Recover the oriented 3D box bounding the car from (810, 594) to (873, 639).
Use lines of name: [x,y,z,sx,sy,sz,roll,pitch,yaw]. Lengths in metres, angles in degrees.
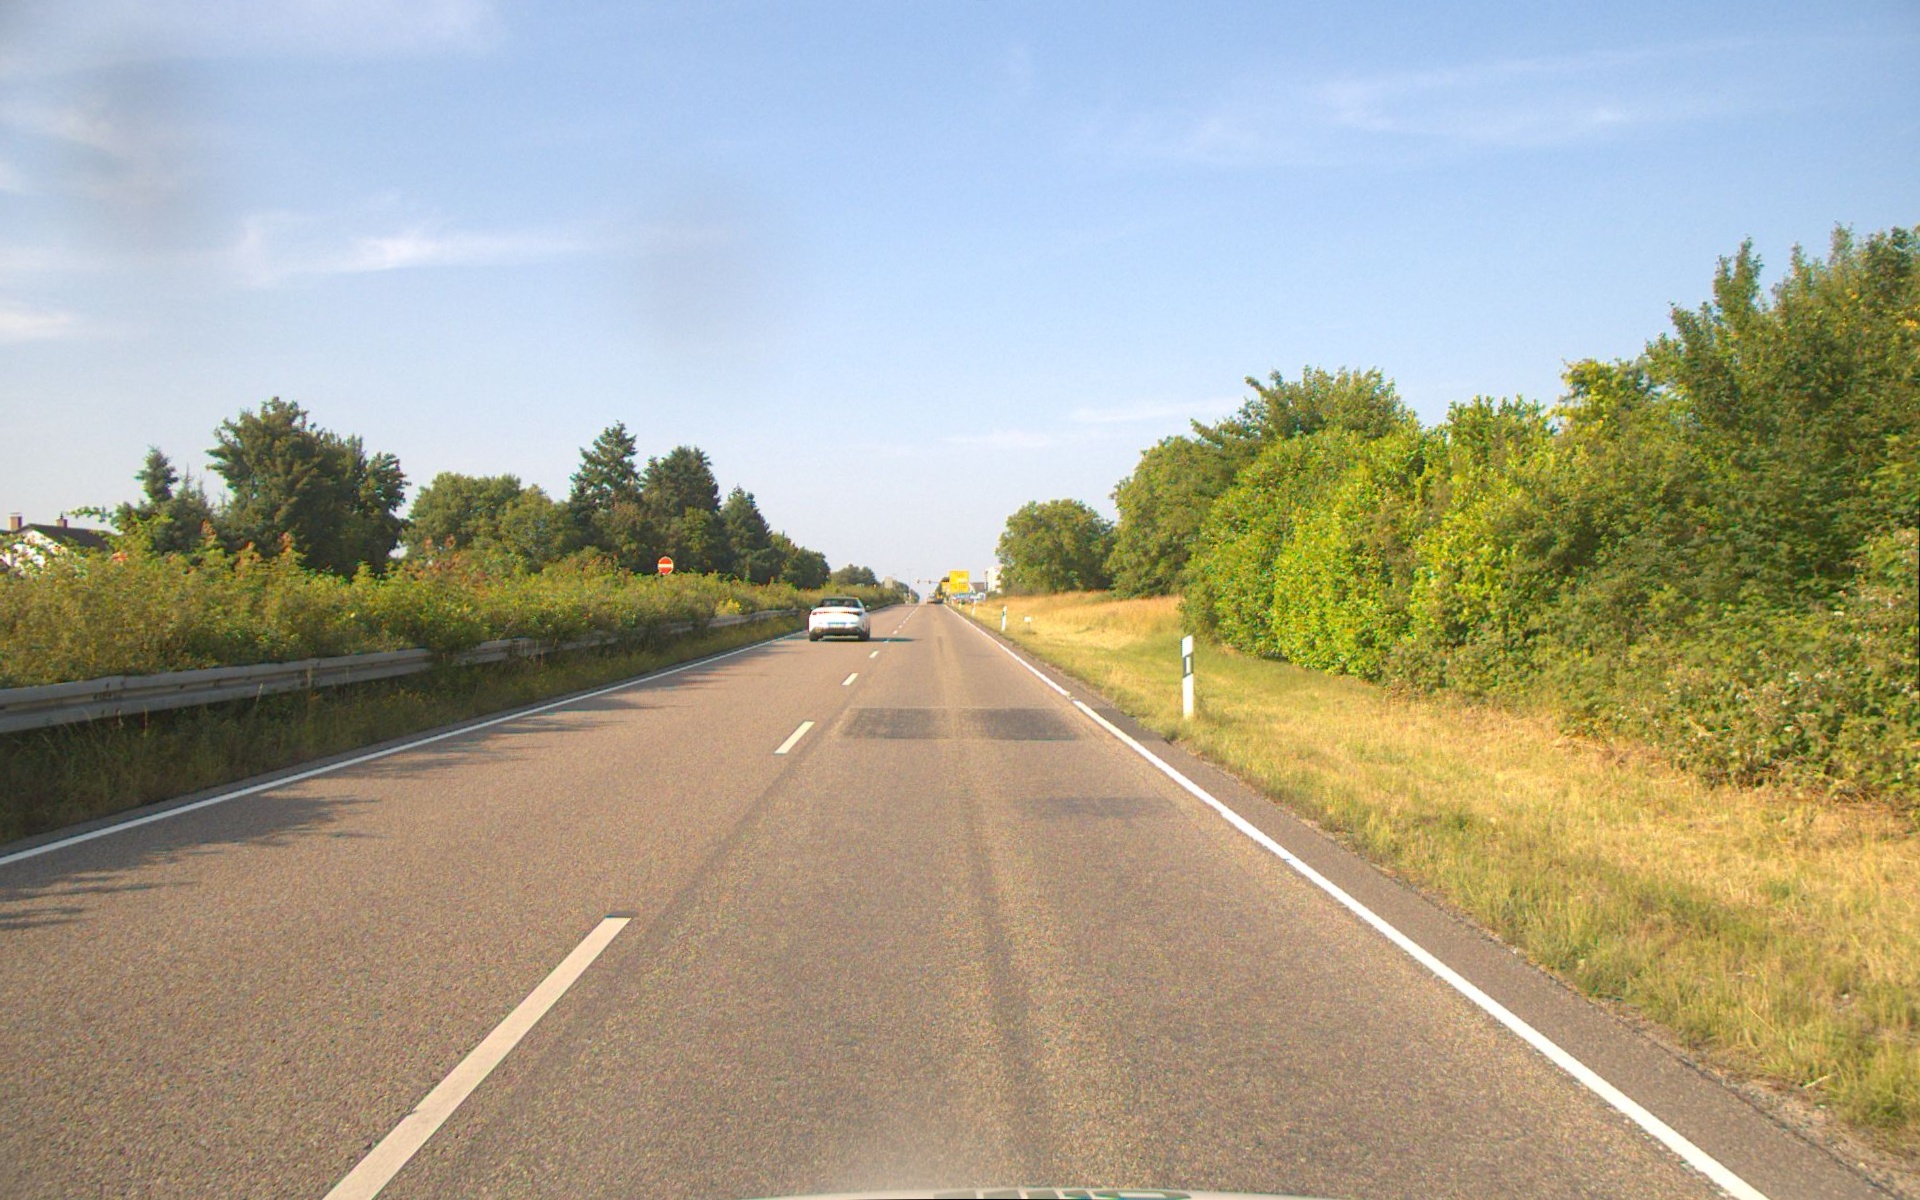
car: [-3.800,0.531,53.653,1.735,1.361,4.949,1,0,-1]
